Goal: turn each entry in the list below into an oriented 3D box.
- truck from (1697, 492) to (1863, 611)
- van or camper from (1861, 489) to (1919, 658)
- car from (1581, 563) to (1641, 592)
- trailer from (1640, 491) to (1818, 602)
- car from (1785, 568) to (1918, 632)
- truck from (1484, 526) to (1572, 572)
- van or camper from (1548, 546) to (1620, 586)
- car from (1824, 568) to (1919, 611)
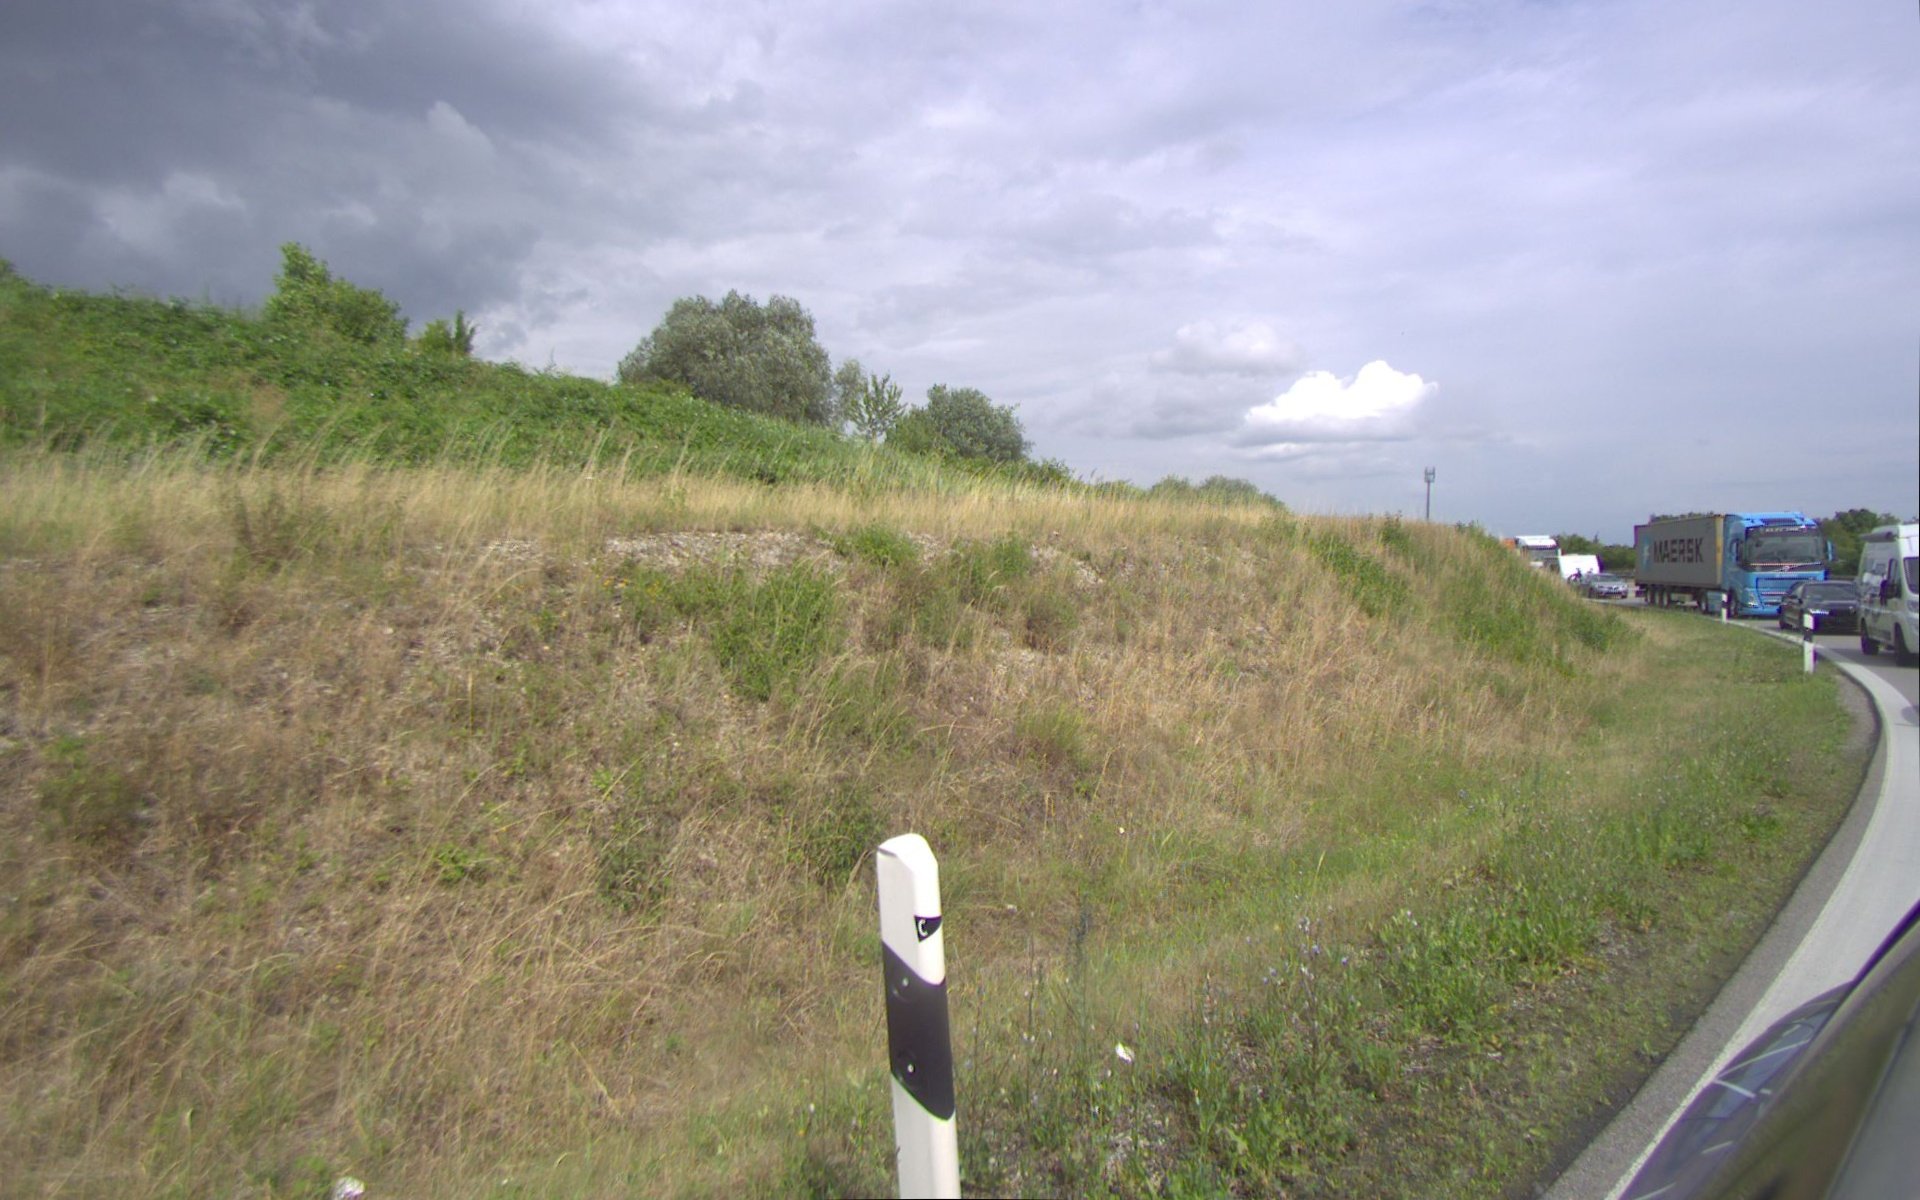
[{"bbox_3d":[31.016,-1.715,38.648,3.144,4.124,6.596,0,1,23],"label":"truck"},{"bbox_3d":[19.217,-0.498,19.266,2.384,2.945,5.650,0,1,35],"label":"van or camper"},{"bbox_3d":[37.644,-1.320,58.607,1.974,1.548,3.977,0,3,19],"label":"car"},{"bbox_3d":[33.474,-2.117,44.782,3.238,4.213,11.928,0,1,22],"label":"trailer"},{"bbox_3d":[25.176,-0.070,28.754,1.983,1.638,3.960,1,2,29],"label":"car"},{"bbox_3d":[43.872,-3.823,78.571,3.079,3.279,11.115,0,2,14],"label":"truck"},{"bbox_3d":[39.485,-2.197,64.219,2.519,2.237,5.685,-1,4,17],"label":"van or camper"},{"bbox_3d":[36.455,-0.472,40.289,2.007,1.597,4.547,2,2,26],"label":"car"}]
